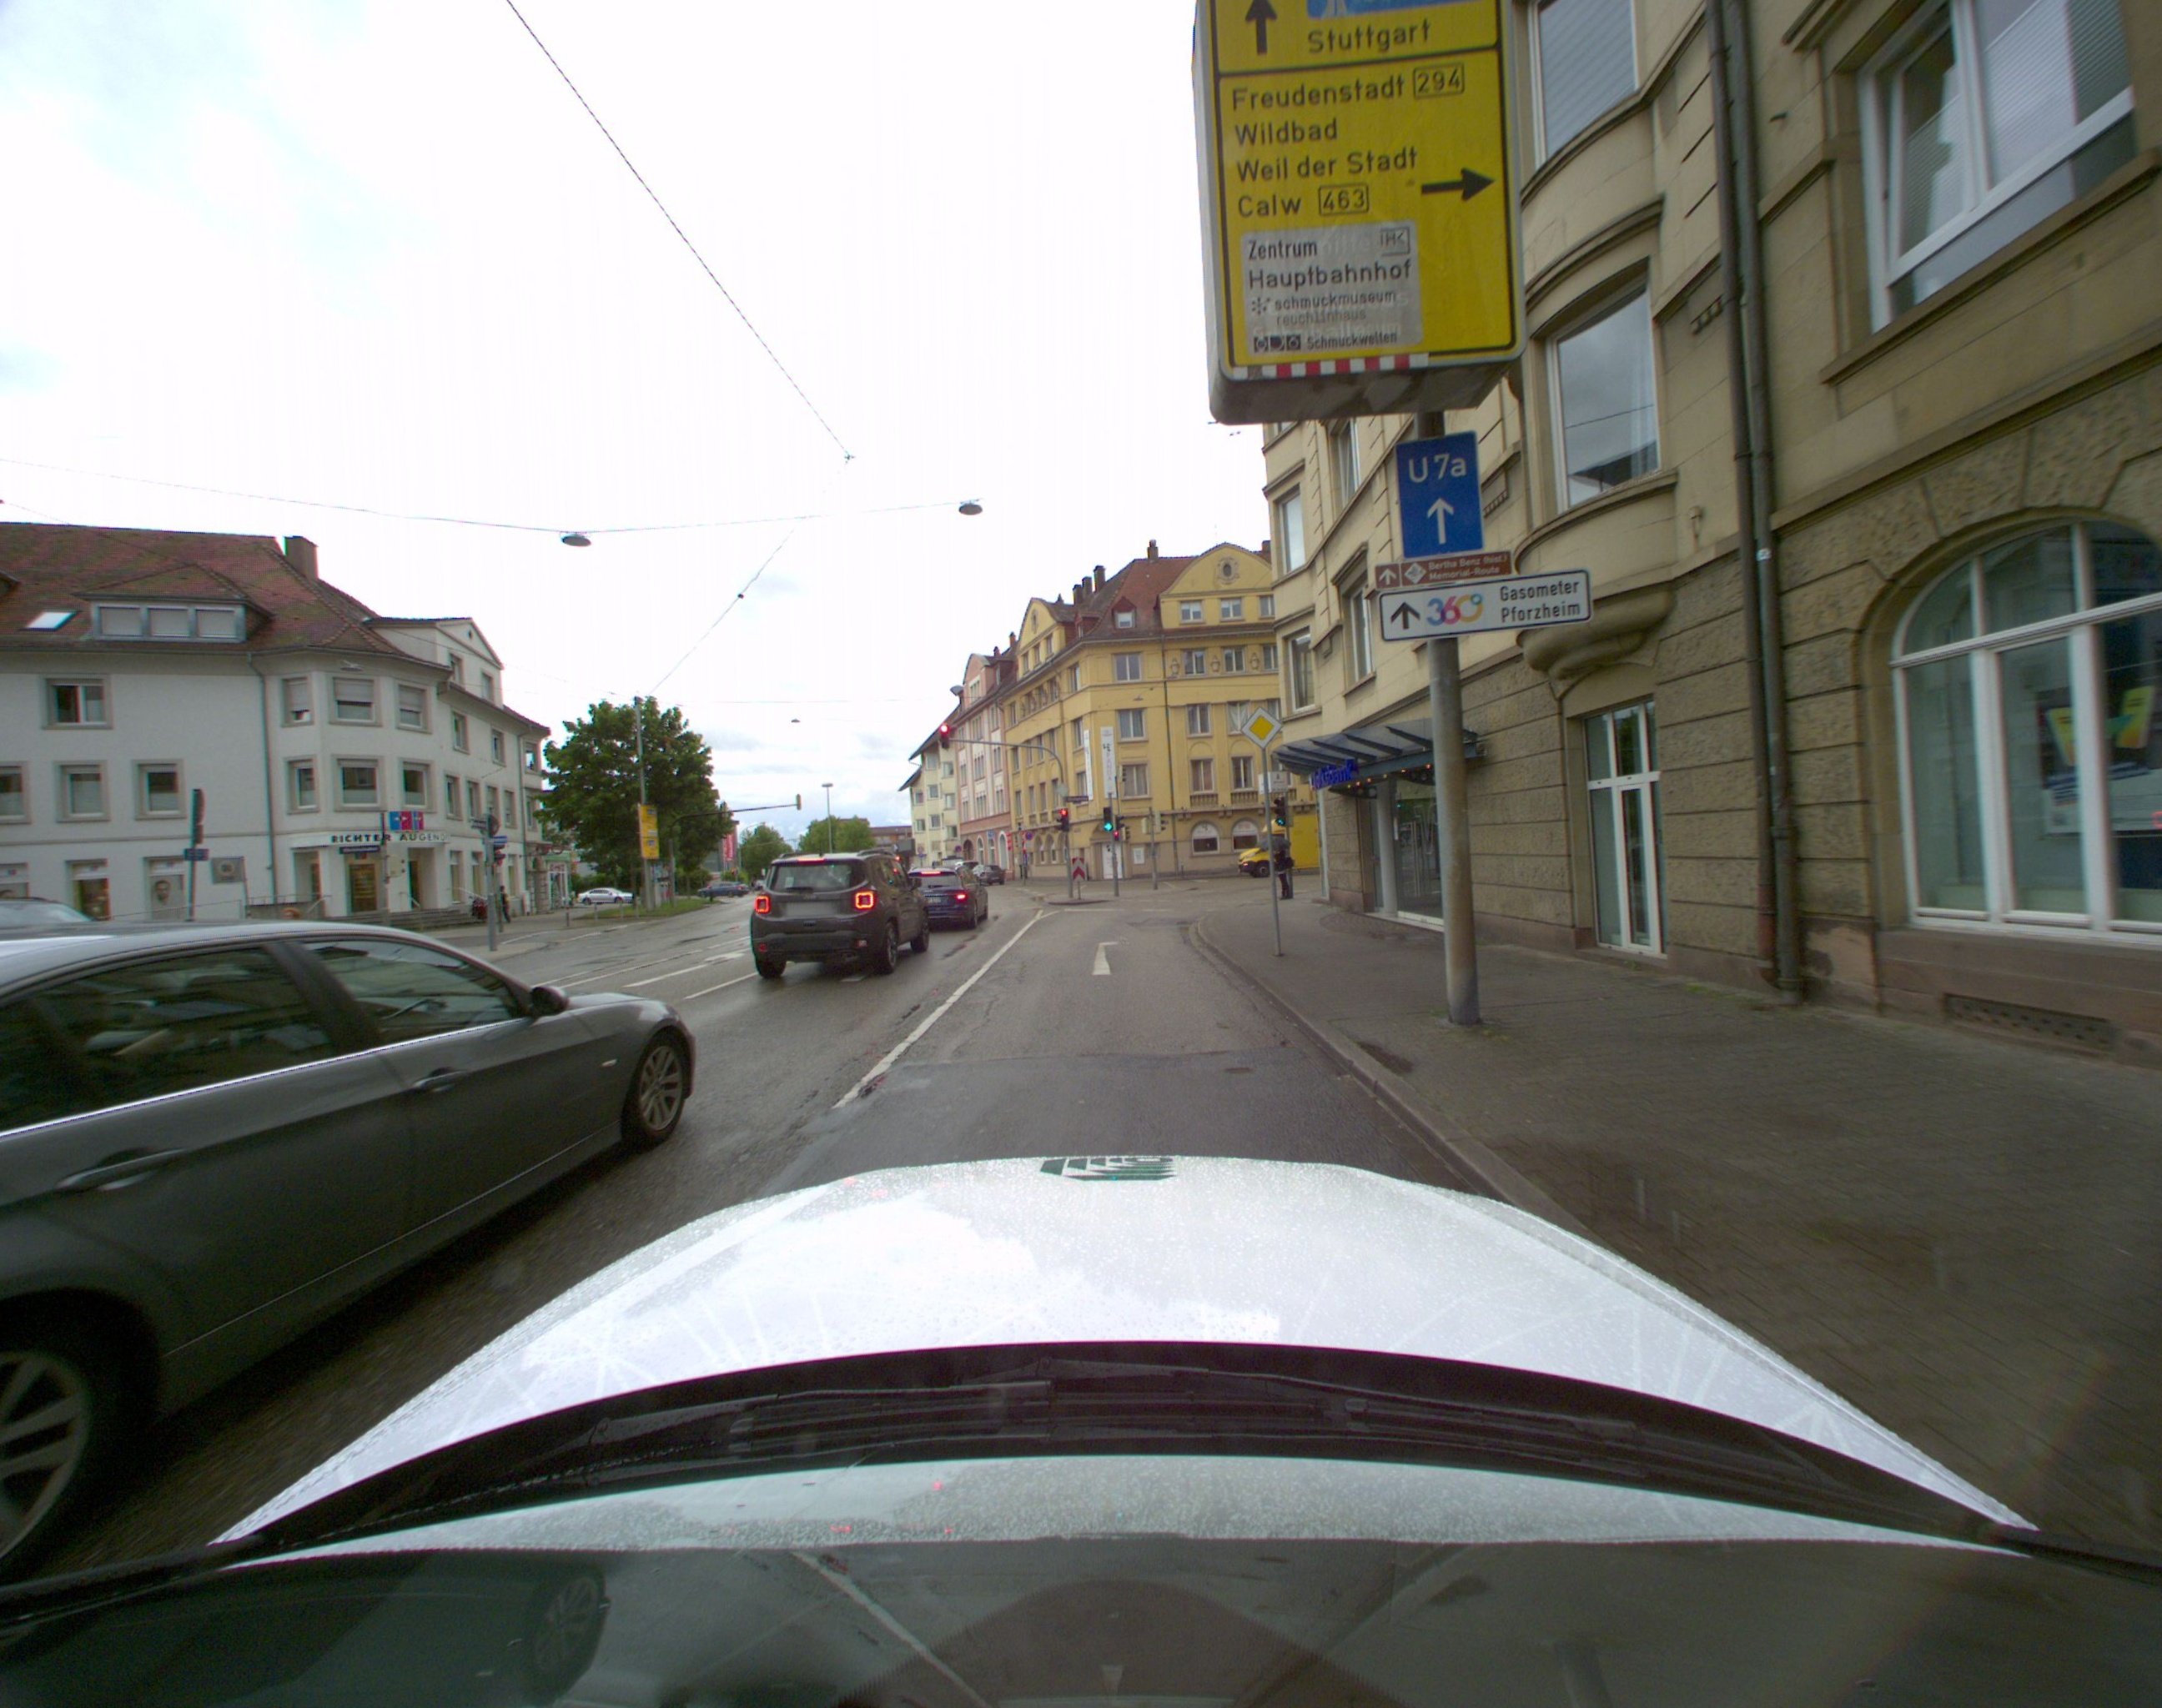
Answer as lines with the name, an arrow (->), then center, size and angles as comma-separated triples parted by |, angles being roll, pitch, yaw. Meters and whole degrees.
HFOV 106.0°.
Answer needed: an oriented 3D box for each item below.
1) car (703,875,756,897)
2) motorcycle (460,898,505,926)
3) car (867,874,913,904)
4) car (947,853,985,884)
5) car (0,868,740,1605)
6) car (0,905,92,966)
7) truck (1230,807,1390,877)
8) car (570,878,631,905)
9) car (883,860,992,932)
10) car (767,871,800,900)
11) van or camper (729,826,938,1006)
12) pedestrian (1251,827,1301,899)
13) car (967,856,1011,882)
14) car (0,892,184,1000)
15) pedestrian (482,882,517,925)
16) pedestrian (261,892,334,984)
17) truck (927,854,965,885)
car -> -32.635, 2.983, 75.767 | 3.975, 1.750, 1.999 | -3, 0, -1
motorcycle -> -28.648, 2.749, 39.028 | 0.720, 1.178, 2.577 | -3, 0, -14
car -> -13.005, 2.347, 55.280 | 2.006, 1.816, 3.963 | -3, 0, -28
car -> -8.737, 1.064, 61.616 | 1.770, 2.180, 3.968 | -2, 0, -24
car -> -3.099, 0.845, 2.953 | 1.793, 1.464, 4.370 | -4, -1, 0
car -> -36.184, 2.800, 26.856 | 4.002, 1.815, 1.986 | -4, 0, -21
truck -> 10.969, -0.565, 39.395 | 7.067, 2.851, 2.083 | -3, -1, 0
car -> -40.542, 3.129, 68.813 | 3.992, 1.881, 1.816 | -4, 0, -14
car -> -3.229, 0.897, 19.188 | 1.798, 1.406, 4.680 | -3, -1, -2
car -> -18.776, 1.948, 51.451 | 1.851, 1.684, 3.972 | -2, -1, -20
van or camper -> -3.453, 0.771, 12.240 | 1.850, 2.146, 4.140 | -3, 0, -2
pedestrian -> 5.437, 0.232, 22.643 | 1.047, 1.903, 1.031 | -4, 0, 25
car -> -6.271, 1.040, 55.220 | 1.887, 1.637, 3.969 | -2, 0, -23
car -> -17.853, 1.553, 13.452 | 4.391, 1.506, 1.959 | -4, 0, 10
pedestrian -> -24.846, 2.108, 34.829 | 0.967, 1.708, 0.927 | -3, 0, -24
pedestrian -> -13.820, 1.461, 14.383 | 0.763, 1.529, 0.505 | -1, -2, -20
truck -> -11.127, 1.238, 66.900 | 2.036, 2.389, 4.203 | -2, 0, -24
